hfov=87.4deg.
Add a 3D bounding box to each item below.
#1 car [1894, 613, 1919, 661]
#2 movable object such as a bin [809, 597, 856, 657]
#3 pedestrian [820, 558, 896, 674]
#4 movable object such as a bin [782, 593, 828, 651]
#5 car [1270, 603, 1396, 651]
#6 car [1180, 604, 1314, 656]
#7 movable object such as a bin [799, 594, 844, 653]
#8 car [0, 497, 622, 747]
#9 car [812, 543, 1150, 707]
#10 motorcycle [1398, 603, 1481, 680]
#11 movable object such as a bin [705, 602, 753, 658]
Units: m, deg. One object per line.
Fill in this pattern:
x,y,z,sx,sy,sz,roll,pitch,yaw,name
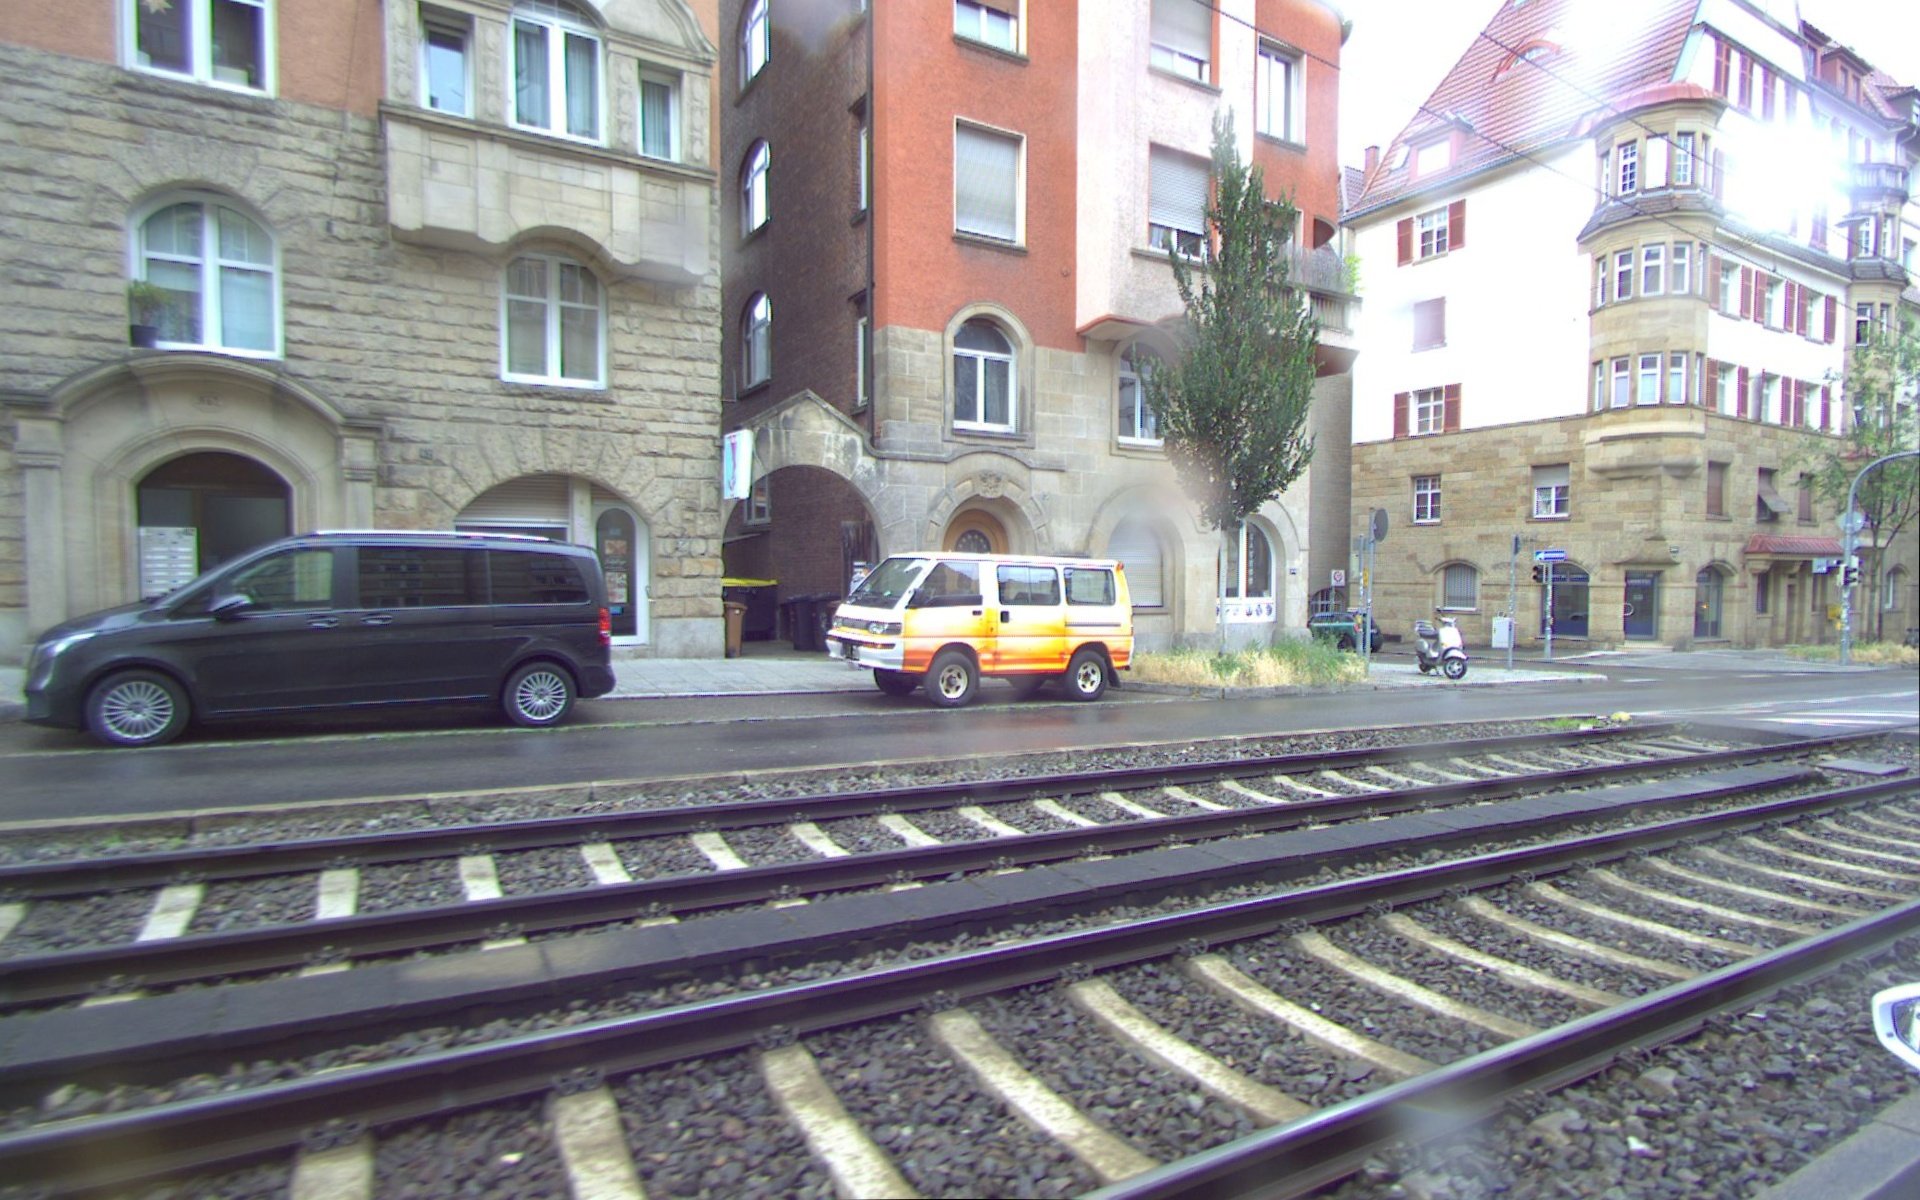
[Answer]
33.230,1.267,33.756,4.130,1.549,1.680,2,0,-32,car
-2.279,0.479,17.927,0.648,1.058,0.545,2,0,-29,movable object such as a bin
-1.624,0.243,15.964,0.882,1.743,0.713,2,6,-30,pedestrian
-2.928,0.416,18.927,0.648,1.058,0.676,2,0,-29,movable object such as a bin
13.650,0.972,36.965,1.979,1.595,3.963,2,0,-33,car
8.960,0.903,31.625,1.726,1.486,3.968,2,0,-30,car
-2.546,0.432,18.419,0.648,1.058,0.545,2,0,-29,movable object such as a bin
-6.011,0.226,9.892,4.777,1.956,1.896,2,0,-31,car
0.357,0.351,13.859,4.426,1.956,1.719,2,0,-32,car
9.251,0.769,19.455,0.752,1.393,1.785,2,0,2,motorcycle
-3.901,0.507,16.950,0.647,0.910,0.544,2,0,-27,movable object such as a bin
